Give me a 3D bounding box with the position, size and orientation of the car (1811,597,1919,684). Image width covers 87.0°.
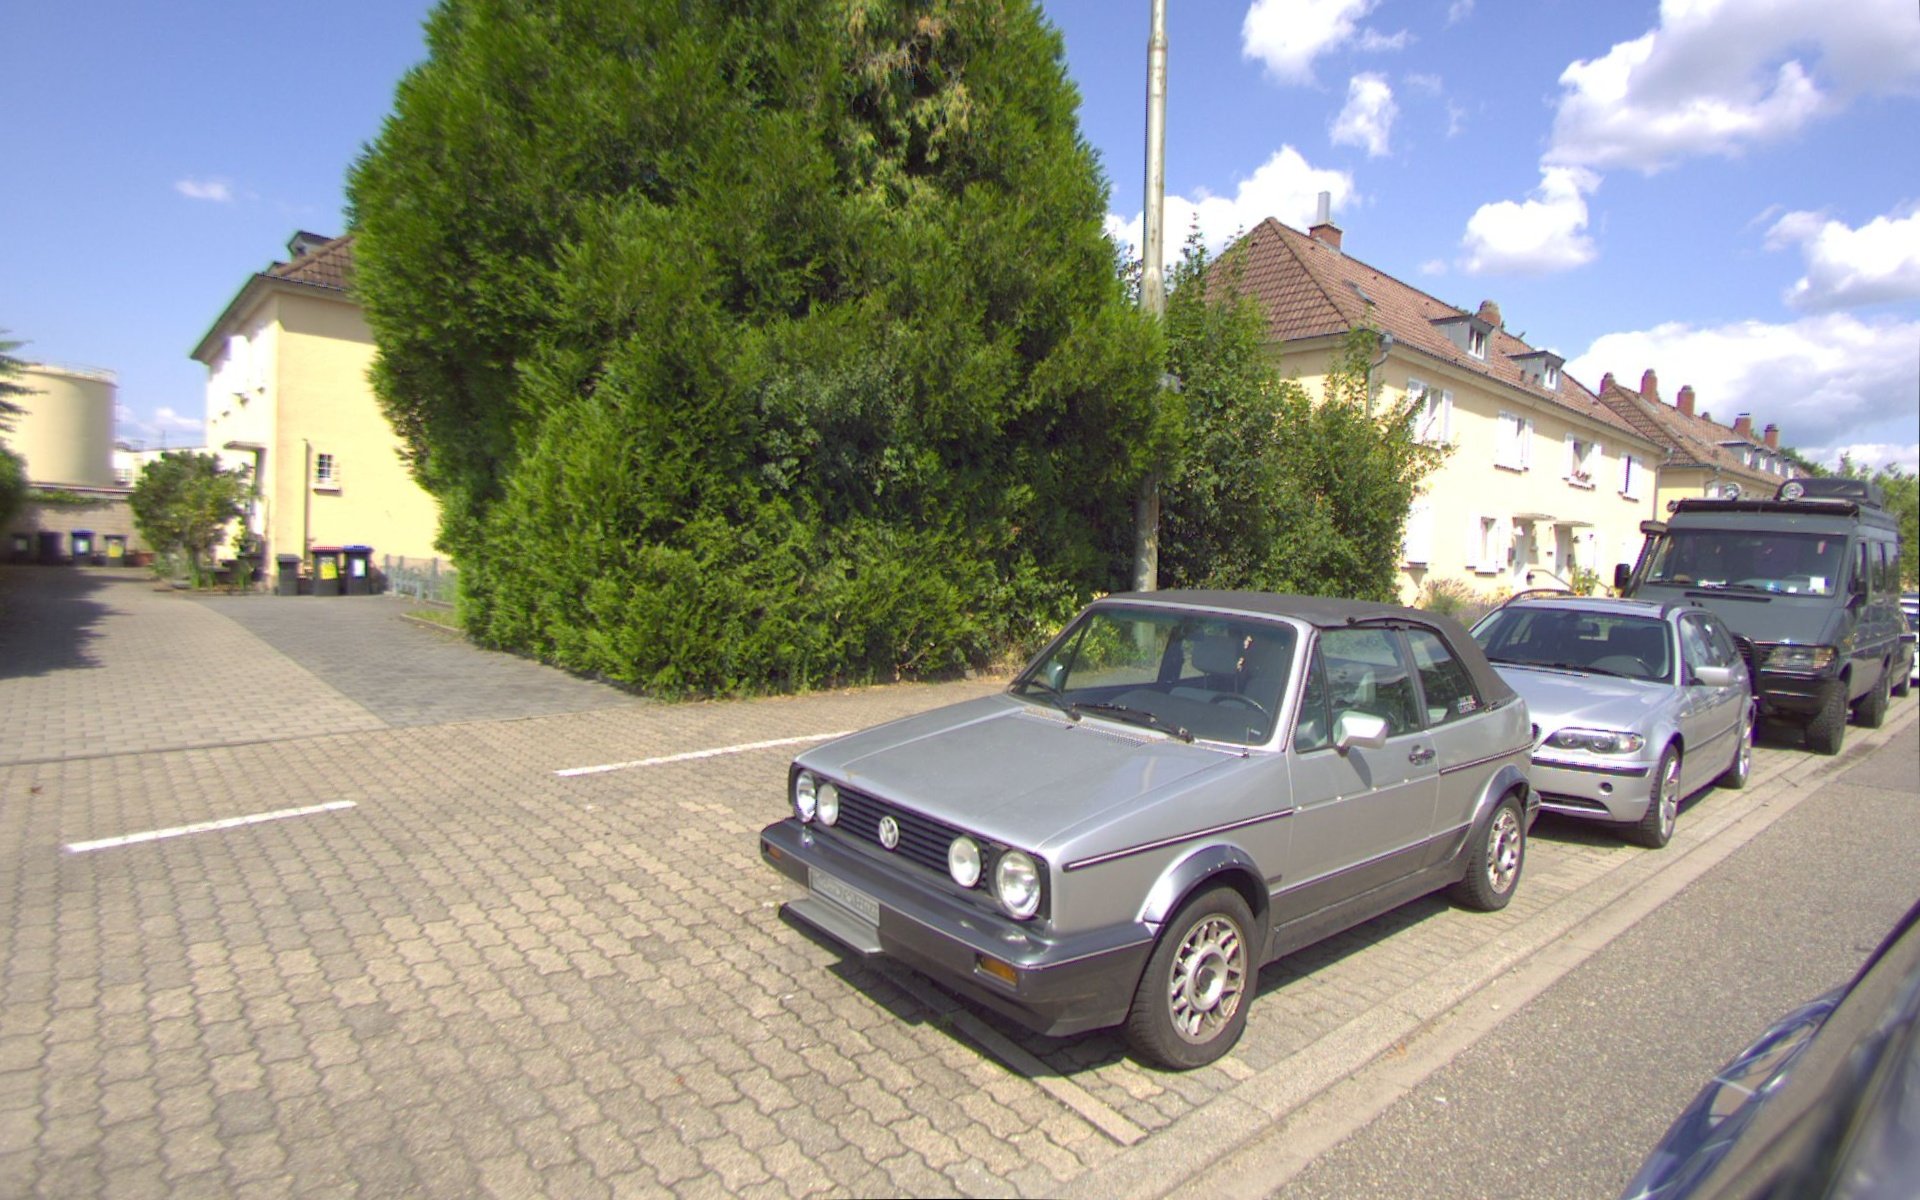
[{"bbox_3d":[16.813,0.662,18.208,4.058,1.311,1.724,0,4,-42],"label":"car"}]

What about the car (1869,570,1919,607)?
[{"bbox_3d":[48.886,-0.559,52.419,3.973,1.767,1.928,1,3,-38],"label":"car"}]

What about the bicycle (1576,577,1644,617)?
[{"bbox_3d":[19.629,-0.106,30.598,0.285,1.116,1.693,1,2,-41],"label":"bicycle"}]

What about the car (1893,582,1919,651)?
[{"bbox_3d":[25.111,0.423,25.669,4.197,1.650,1.682,0,4,-42],"label":"car"}]

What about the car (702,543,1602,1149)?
[{"bbox_3d":[1.122,0.550,4.400,4.025,1.448,1.655,-1,4,-41],"label":"car"}]

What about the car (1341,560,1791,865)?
[{"bbox_3d":[4.602,0.539,7.378,4.284,1.534,1.693,-1,4,-44],"label":"car"}]

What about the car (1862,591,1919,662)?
[{"bbox_3d":[21.676,0.576,22.650,3.955,1.435,1.654,0,4,-41],"label":"car"}]

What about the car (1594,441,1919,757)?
[{"bbox_3d":[9.082,-0.075,11.274,4.794,2.794,2.000,0,4,-41],"label":"car"}]

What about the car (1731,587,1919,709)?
[{"bbox_3d":[13.017,0.589,14.868,4.753,1.419,1.725,0,4,-41],"label":"car"}]
